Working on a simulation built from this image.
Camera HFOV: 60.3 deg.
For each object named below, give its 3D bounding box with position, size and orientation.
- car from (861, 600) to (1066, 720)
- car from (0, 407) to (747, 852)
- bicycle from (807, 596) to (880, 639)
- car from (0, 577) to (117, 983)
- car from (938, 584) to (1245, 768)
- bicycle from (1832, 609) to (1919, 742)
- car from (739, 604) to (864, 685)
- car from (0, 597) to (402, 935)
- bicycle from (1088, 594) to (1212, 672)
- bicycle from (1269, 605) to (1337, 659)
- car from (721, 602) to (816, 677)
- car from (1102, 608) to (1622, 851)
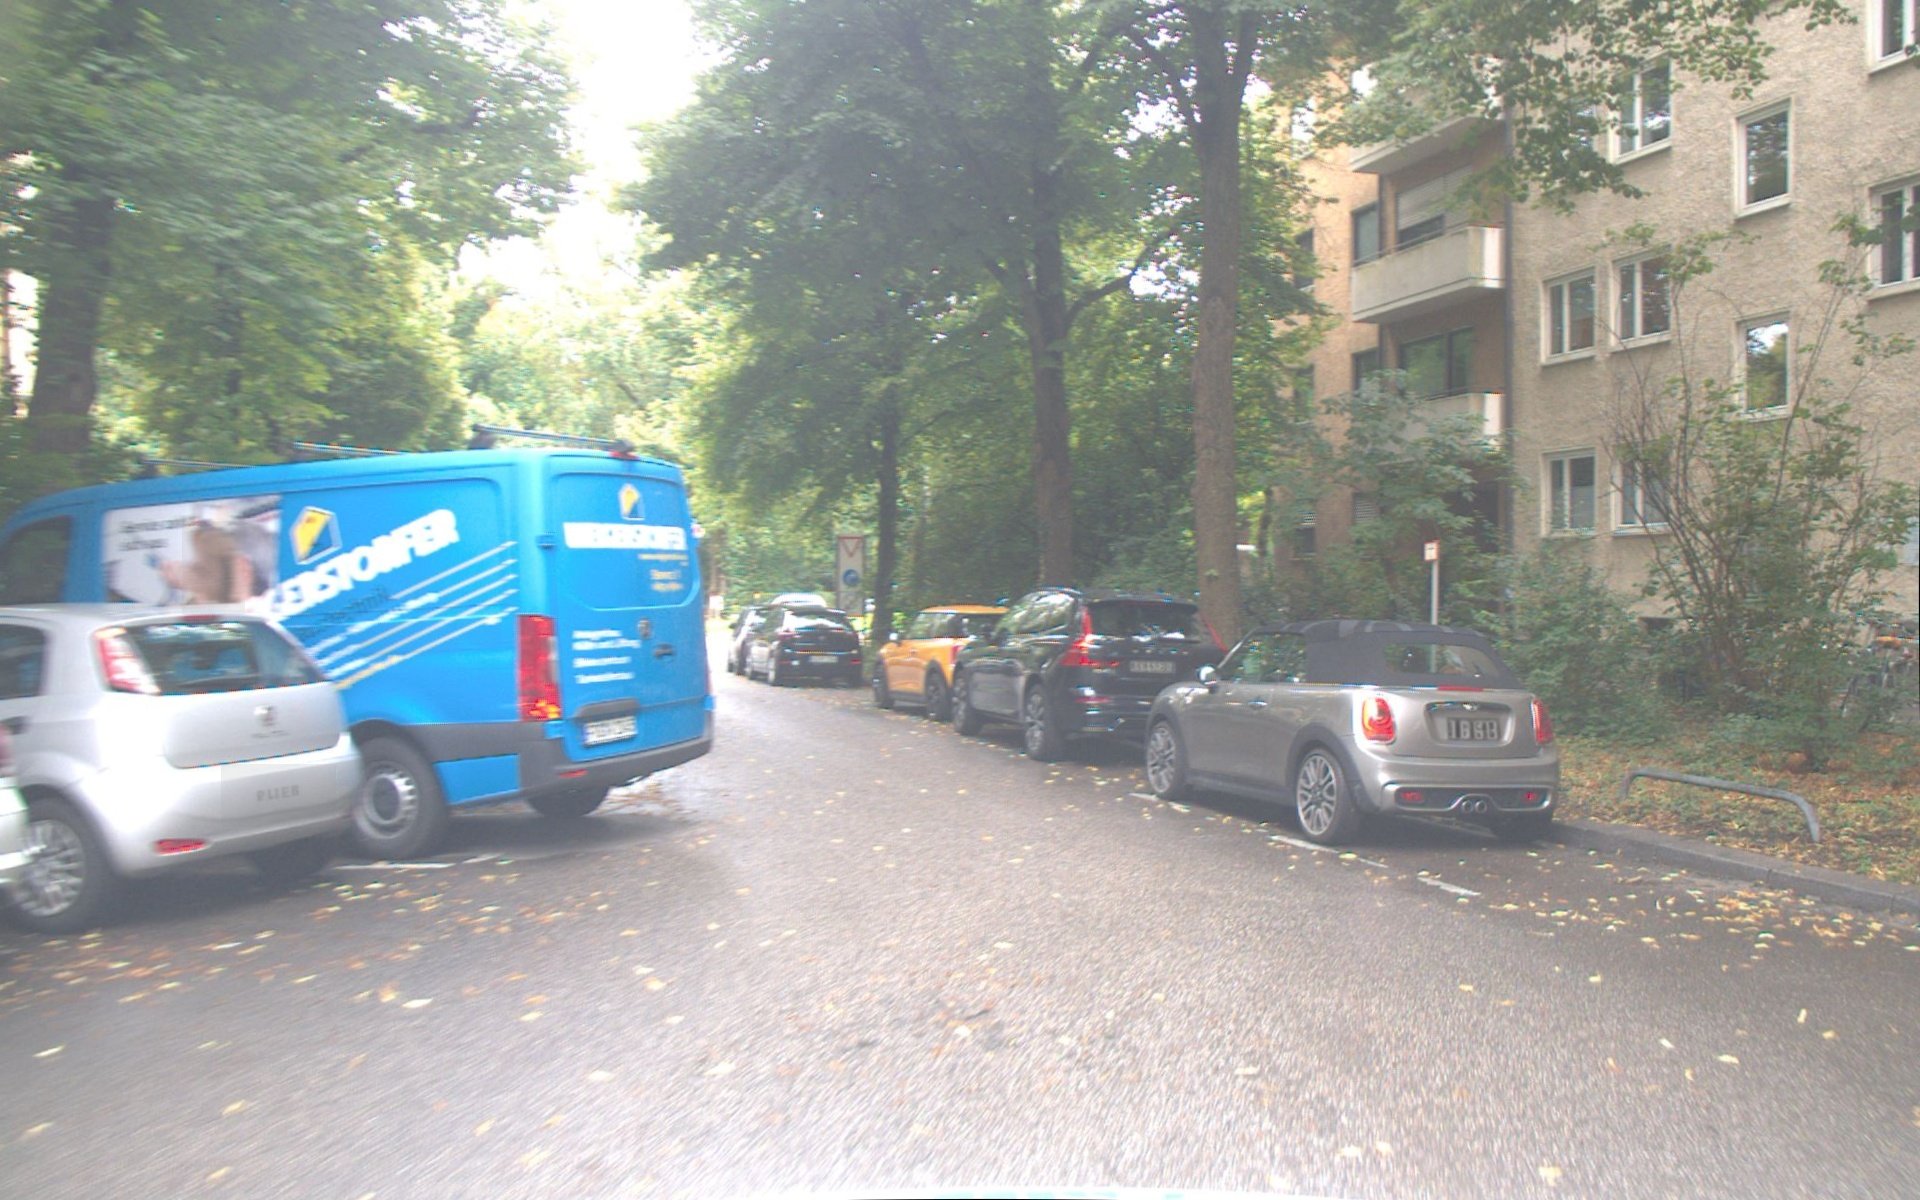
[{"bbox_3d":[-0.048,0.731,22.172,1.594,1.437,3.759,0,0,-19],"label":"car"},{"bbox_3d":[-4.298,0.263,10.766,5.363,2.395,2.066,-2,-1,20],"label":"car"},{"bbox_3d":[-2.786,0.404,39.419,1.719,0.999,0.272,-1,0,-7],"label":"bicycle"},{"bbox_3d":[-5.766,0.826,6.601,4.182,1.539,1.804,-4,-1,18],"label":"car"},{"bbox_3d":[1.200,0.667,17.324,1.801,1.657,4.507,0,0,-15],"label":"car"},{"bbox_3d":[8.462,0.665,15.260,0.437,1.143,1.763,0,0,38],"label":"bicycle"},{"bbox_3d":[-3.079,0.805,31.499,1.655,1.382,3.991,1,0,-16],"label":"car"},{"bbox_3d":[-4.855,0.759,8.520,3.468,1.458,1.644,-2,-1,20],"label":"car"},{"bbox_3d":[2.820,0.475,24.491,1.806,1.102,0.543,-1,0,-24],"label":"bicycle"},{"bbox_3d":[7.102,0.654,34.330,0.545,1.062,1.827,-1,0,-17],"label":"bicycle"},{"bbox_3d":[-4.167,0.800,35.596,1.619,1.500,3.631,0,0,-13],"label":"car"},{"bbox_3d":[2.748,0.801,12.498,1.868,1.438,4.409,-1,0,-16],"label":"car"}]
